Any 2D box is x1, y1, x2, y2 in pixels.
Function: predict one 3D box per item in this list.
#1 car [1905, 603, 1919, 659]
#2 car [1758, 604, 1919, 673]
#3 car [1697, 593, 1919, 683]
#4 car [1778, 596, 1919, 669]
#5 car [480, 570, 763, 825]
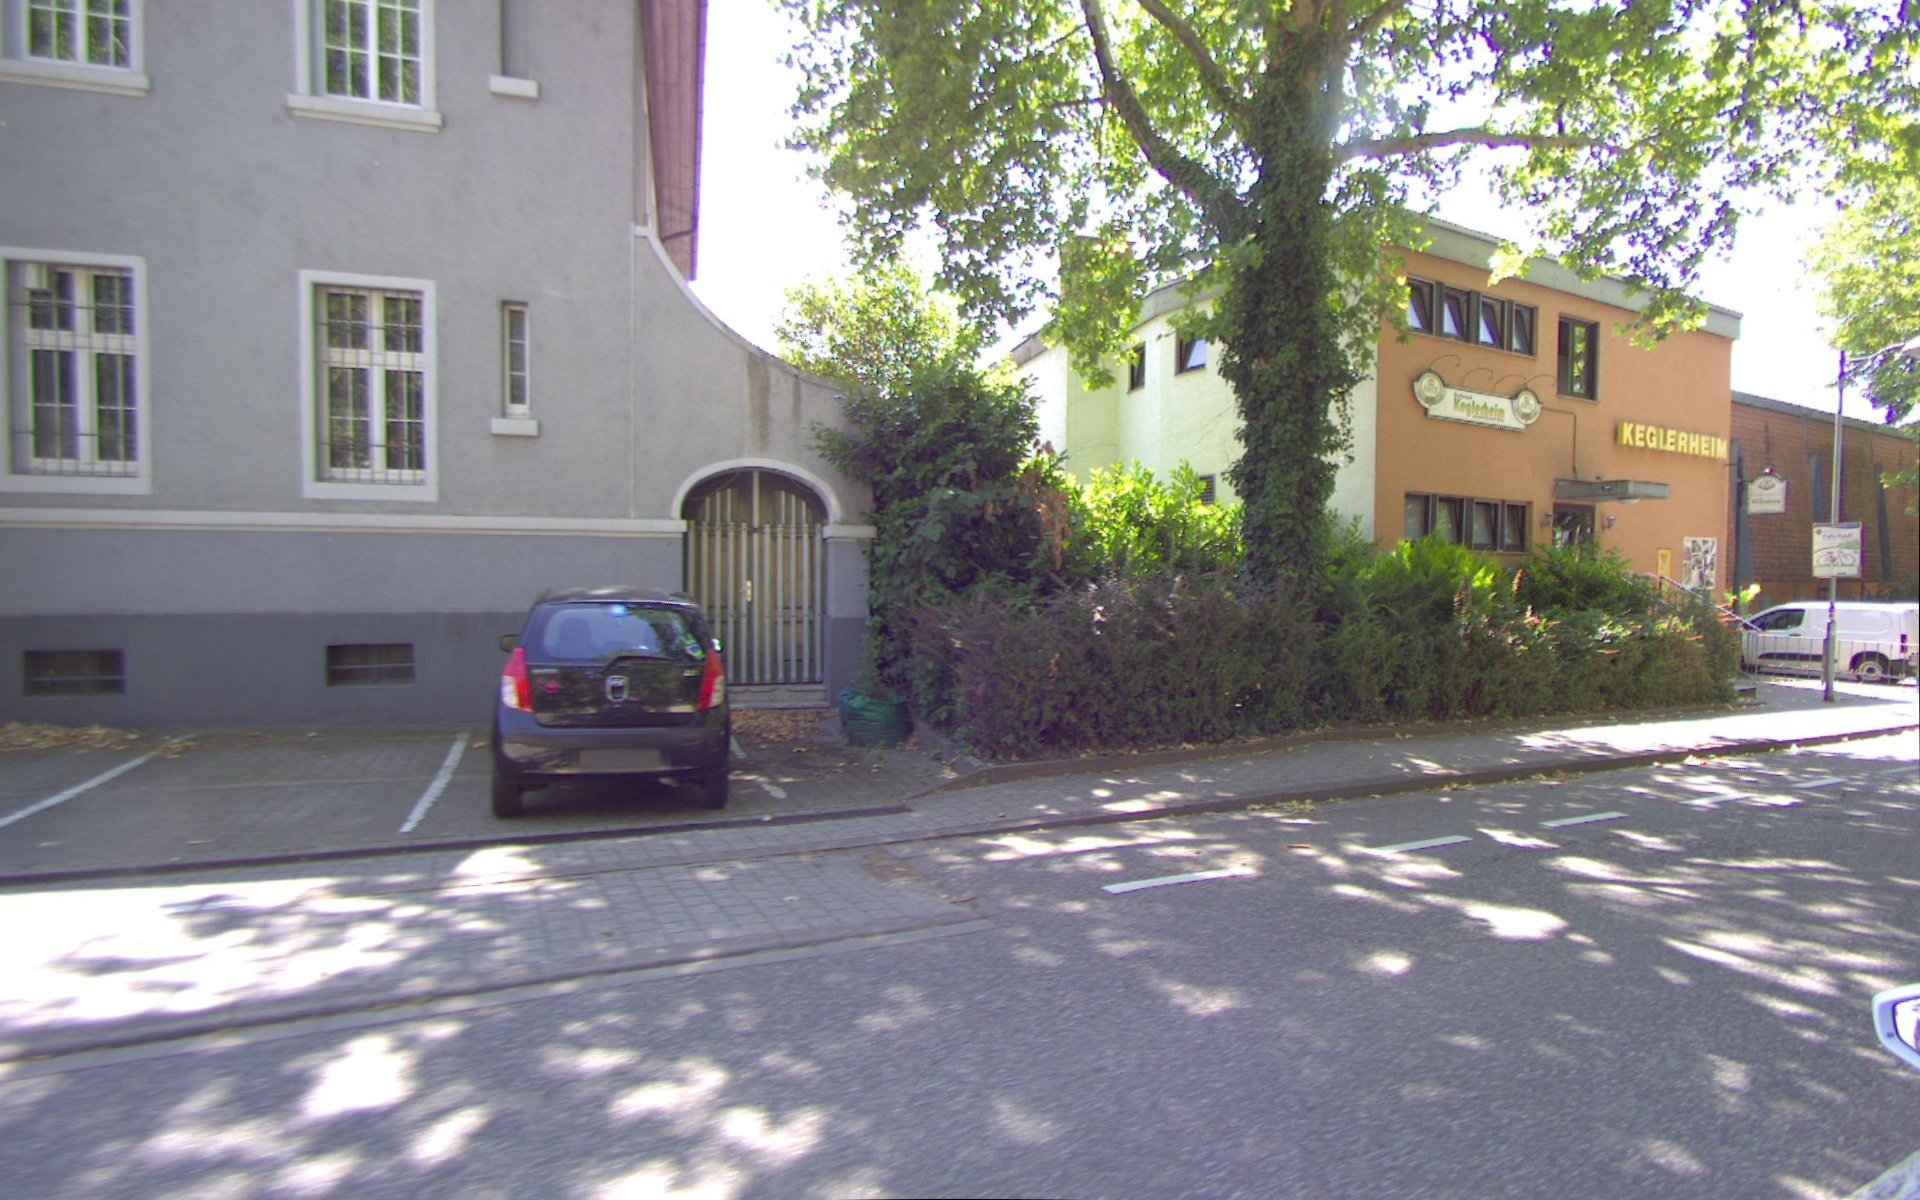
[{"bbox_3d":[33.575,1.160,32.406,1.883,1.828,4.103,1,3,-33],"label":"car"},{"bbox_3d":[24.386,1.018,27.176,1.849,1.536,3.962,1,3,-33],"label":"car"},{"bbox_3d":[20.734,0.852,24.525,1.849,1.817,3.962,1,3,-33],"label":"car"},{"bbox_3d":[26.448,0.933,28.657,1.883,1.828,4.396,1,3,-33],"label":"car"},{"bbox_3d":[-2.728,0.590,8.061,1.698,1.567,3.376,2,1,-21],"label":"car"}]
